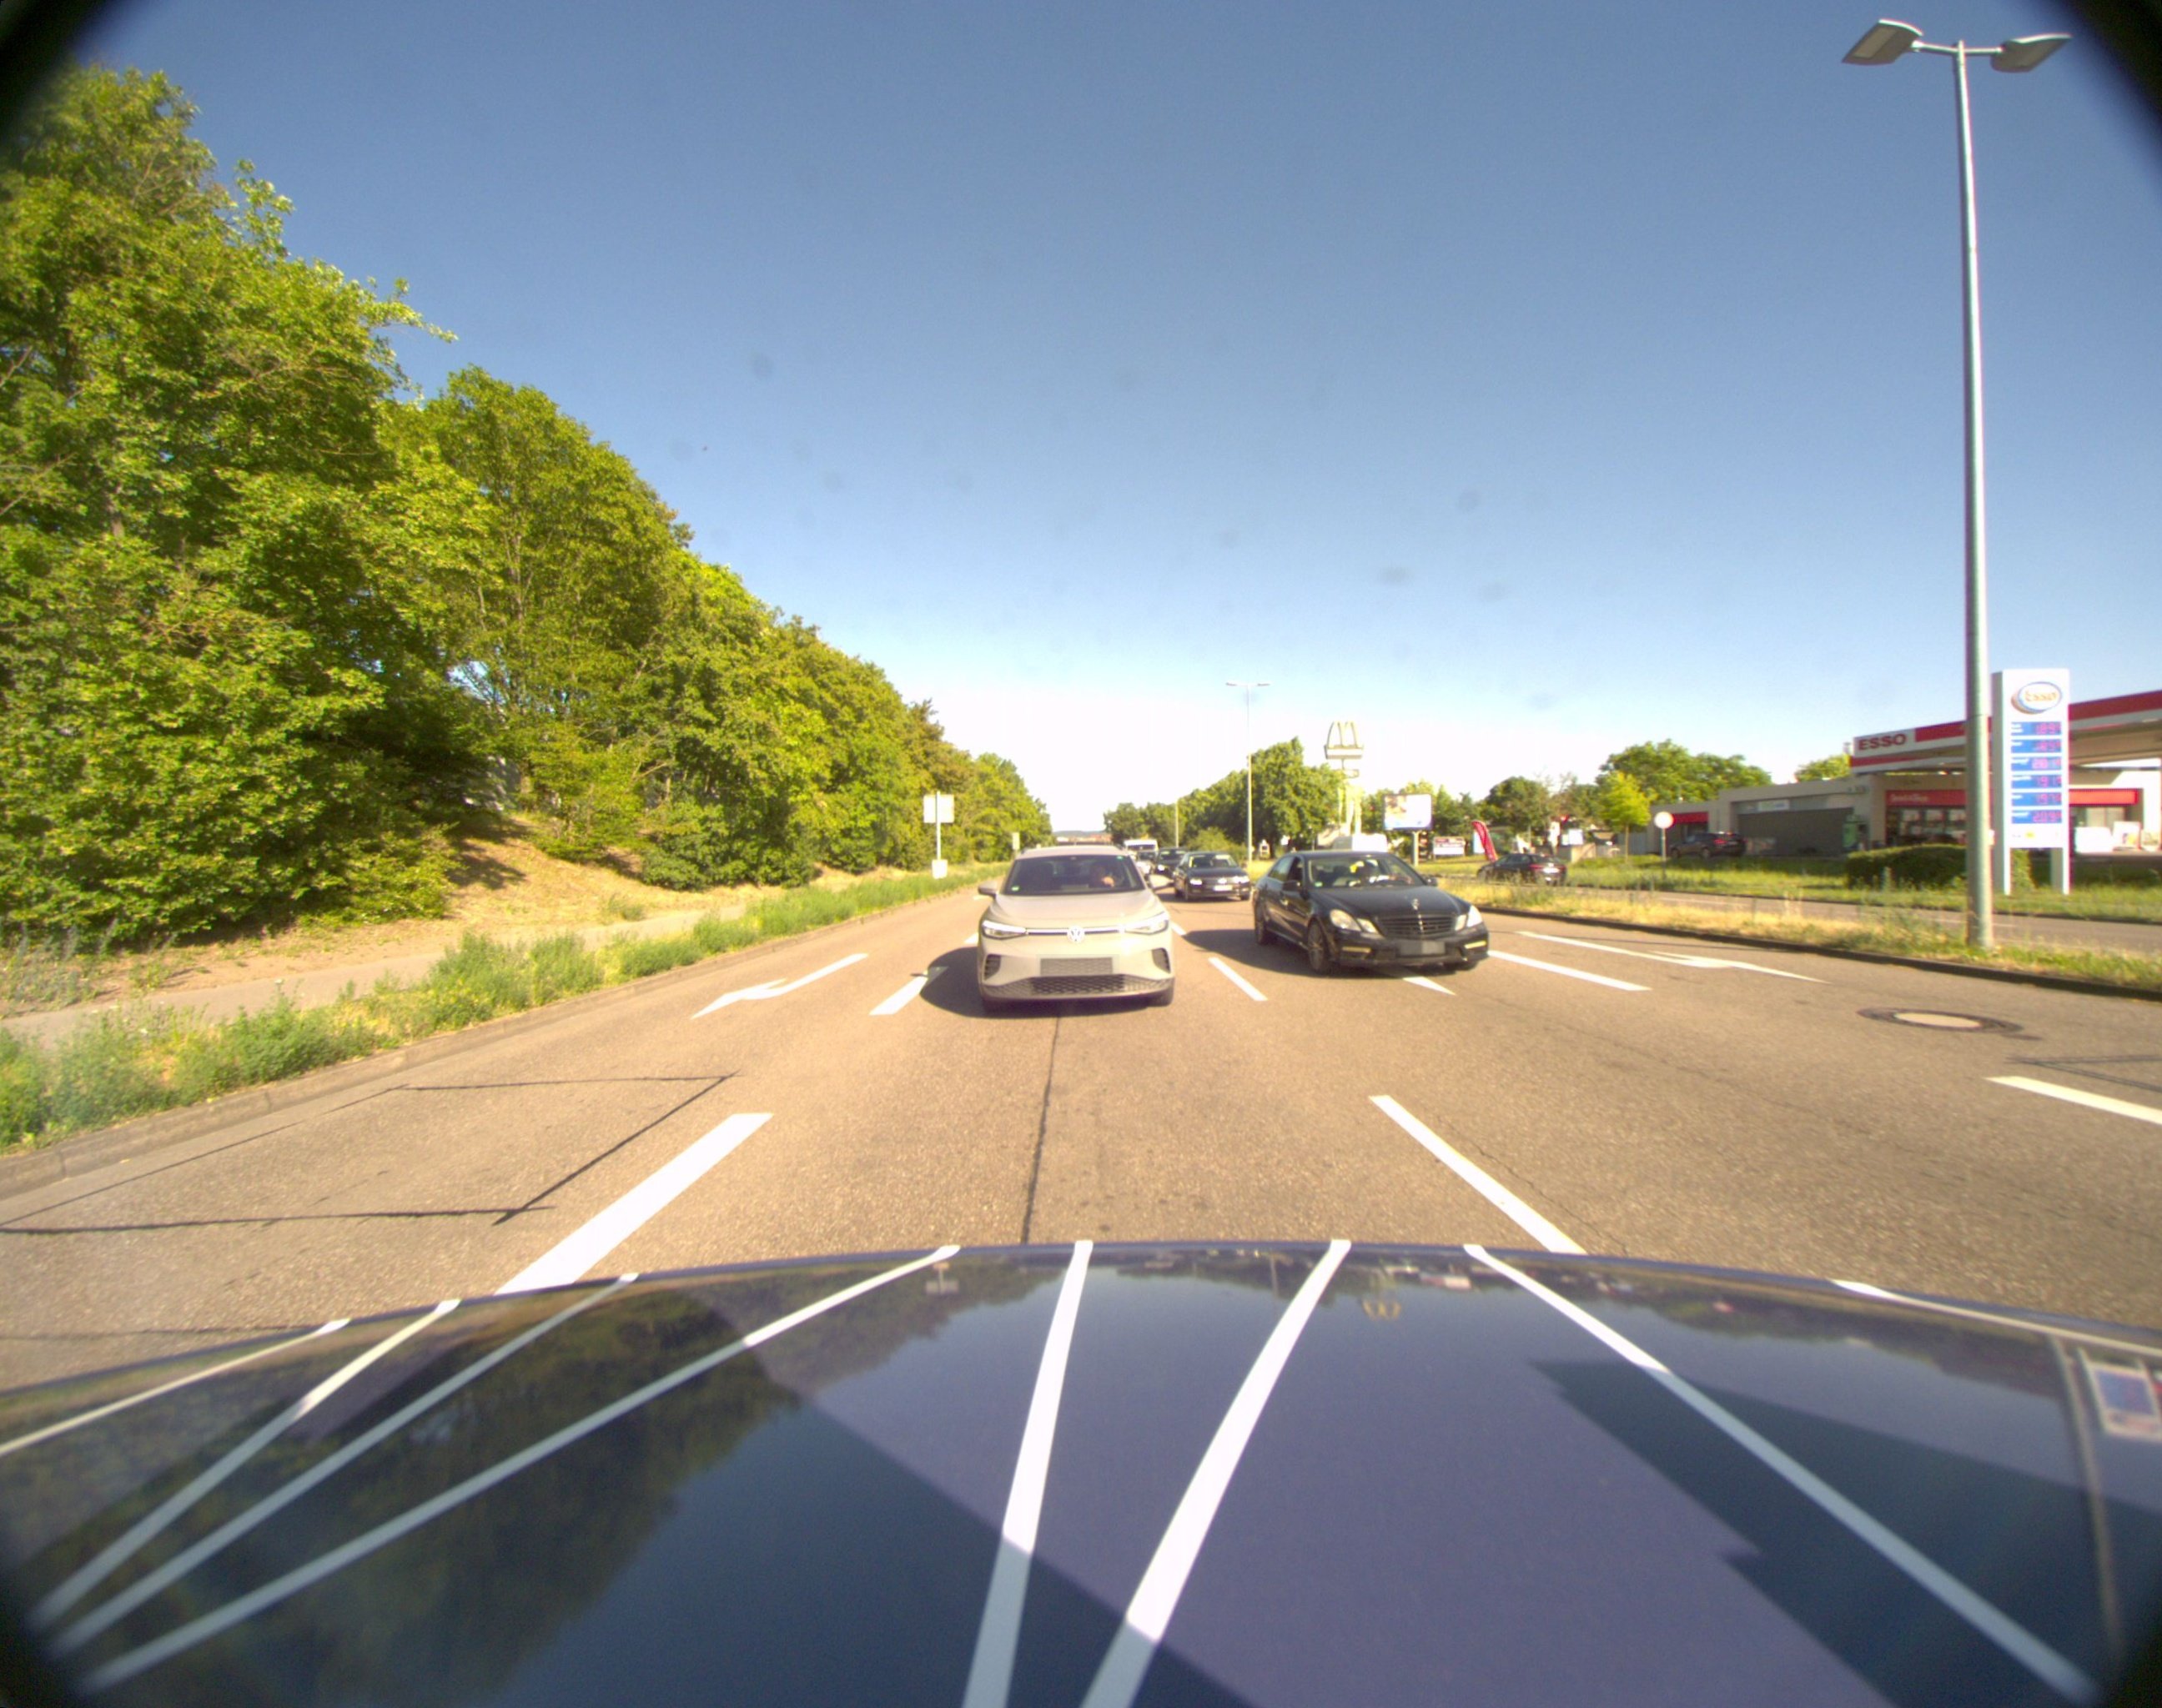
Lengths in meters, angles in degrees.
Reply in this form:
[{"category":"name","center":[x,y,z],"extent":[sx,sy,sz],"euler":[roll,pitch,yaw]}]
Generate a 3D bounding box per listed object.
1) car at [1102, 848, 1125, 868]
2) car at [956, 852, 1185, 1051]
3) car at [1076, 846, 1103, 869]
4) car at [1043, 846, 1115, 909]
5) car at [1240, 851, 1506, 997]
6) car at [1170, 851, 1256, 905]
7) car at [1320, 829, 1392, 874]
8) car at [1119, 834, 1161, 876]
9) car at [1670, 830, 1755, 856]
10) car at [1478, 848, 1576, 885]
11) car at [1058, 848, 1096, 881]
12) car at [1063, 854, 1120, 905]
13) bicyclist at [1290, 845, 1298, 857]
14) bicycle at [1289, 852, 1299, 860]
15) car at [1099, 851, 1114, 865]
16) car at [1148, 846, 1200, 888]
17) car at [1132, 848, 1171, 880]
[{"category":"car","center":[2.869,0.305,67.637],"extent":[1.763,1.607,4.402],"euler":[-2,1,0]},{"category":"car","center":[-0.100,0.812,8.581],"extent":[1.862,1.574,4.402],"euler":[-2,1,0]},{"category":"car","center":[0.565,0.207,52.577],"extent":[1.763,1.482,4.402],"euler":[-2,1,0]},{"category":"car","center":[-0.055,0.580,21.327],"extent":[1.763,1.482,4.402],"euler":[-2,1,0]},{"category":"car","center":[3.585,0.737,10.322],"extent":[1.868,1.430,4.402],"euler":[-2,1,0]},{"category":"car","center":[3.904,0.650,23.181],"extent":[1.797,1.419,4.286],"euler":[-2,1,0]},{"category":"car","center":[16.373,-0.186,45.601],"extent":[2.027,2.433,5.820],"euler":[2,1,0]},{"category":"car","center":[3.625,0.015,47.757],"extent":[2.019,2.349,6.523],"euler":[-2,1,0]},{"category":"car","center":[37.528,-0.662,45.308],"extent":[1.683,1.401,3.977],"euler":[1,1,0]},{"category":"car","center":[20.032,0.516,34.356],"extent":[1.763,1.482,4.477],"euler":[2,1,1]},{"category":"car","center":[-0.212,0.477,38.504],"extent":[1.763,1.482,4.402],"euler":[-2,1,0]},{"category":"car","center":[0.314,0.825,26.490],"extent":[1.763,1.482,4.402],"euler":[-2,1,0]},{"category":"bicyclist","center":[23.841,-0.302,85.126],"extent":[0.629,1.281,0.700],"euler":[-2,2,1]},{"category":"bicycle","center":[23.859,0.184,85.086],"extent":[0.629,0.863,1.741],"euler":[-2,1,1]},{"category":"car","center":[3.262,0.536,97.962],"extent":[1.763,1.607,4.402],"euler":[-2,1,0]},{"category":"car","center":[3.911,0.498,32.492],"extent":[1.674,1.608,3.878],"euler":[-2,1,0]},{"category":"car","center":[3.625,0.478,39.717],"extent":[1.635,1.547,3.776],"euler":[-2,1,0]}]
